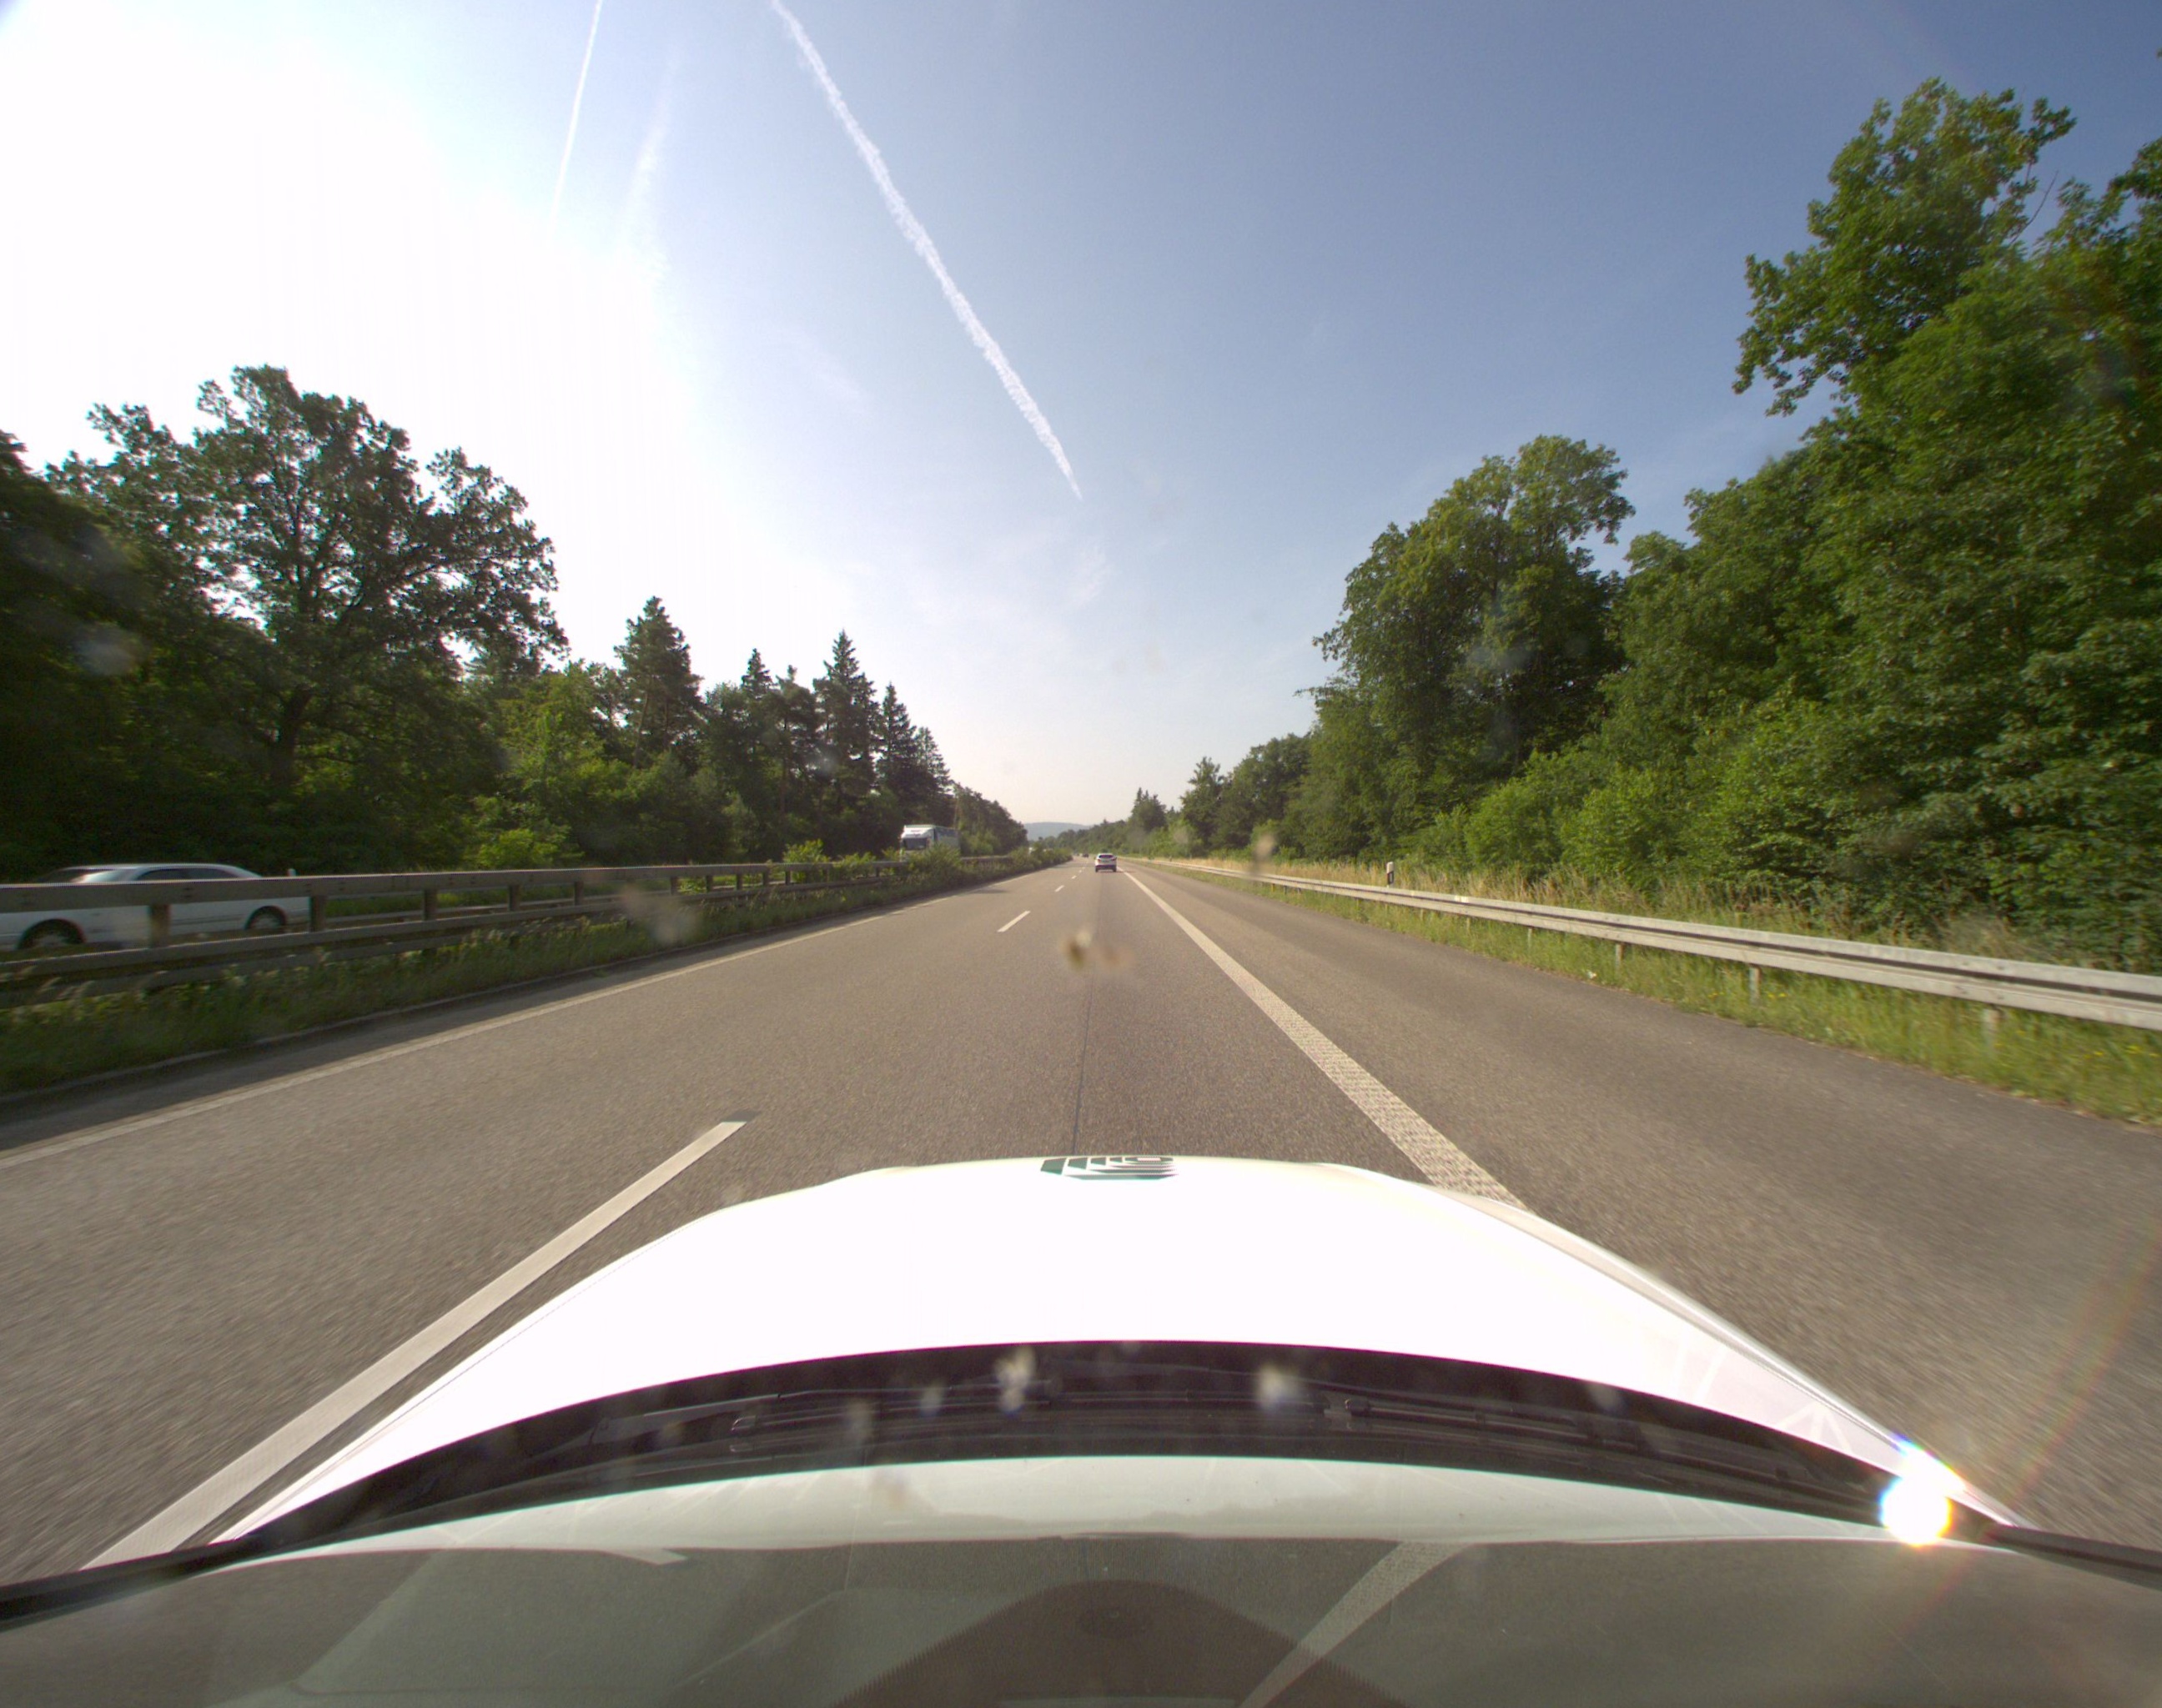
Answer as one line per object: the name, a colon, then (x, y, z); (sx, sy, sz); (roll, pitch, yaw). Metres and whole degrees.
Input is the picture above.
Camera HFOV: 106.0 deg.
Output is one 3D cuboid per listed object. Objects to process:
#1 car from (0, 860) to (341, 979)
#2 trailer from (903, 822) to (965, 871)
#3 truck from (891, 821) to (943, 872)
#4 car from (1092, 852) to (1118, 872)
car: (-14.906, 0.875, 12.933); (1.744, 1.465, 4.813); (1, 0, 2)
trailer: (-13.490, -0.654, 76.043); (2.882, 4.008, 13.328); (-2, 0, 2)
truck: (-13.768, -0.616, 68.908); (2.882, 4.032, 6.027); (-2, 0, 2)
car: (1.995, 0.672, 69.617); (1.869, 1.586, 3.996); (1, 0, -3)
